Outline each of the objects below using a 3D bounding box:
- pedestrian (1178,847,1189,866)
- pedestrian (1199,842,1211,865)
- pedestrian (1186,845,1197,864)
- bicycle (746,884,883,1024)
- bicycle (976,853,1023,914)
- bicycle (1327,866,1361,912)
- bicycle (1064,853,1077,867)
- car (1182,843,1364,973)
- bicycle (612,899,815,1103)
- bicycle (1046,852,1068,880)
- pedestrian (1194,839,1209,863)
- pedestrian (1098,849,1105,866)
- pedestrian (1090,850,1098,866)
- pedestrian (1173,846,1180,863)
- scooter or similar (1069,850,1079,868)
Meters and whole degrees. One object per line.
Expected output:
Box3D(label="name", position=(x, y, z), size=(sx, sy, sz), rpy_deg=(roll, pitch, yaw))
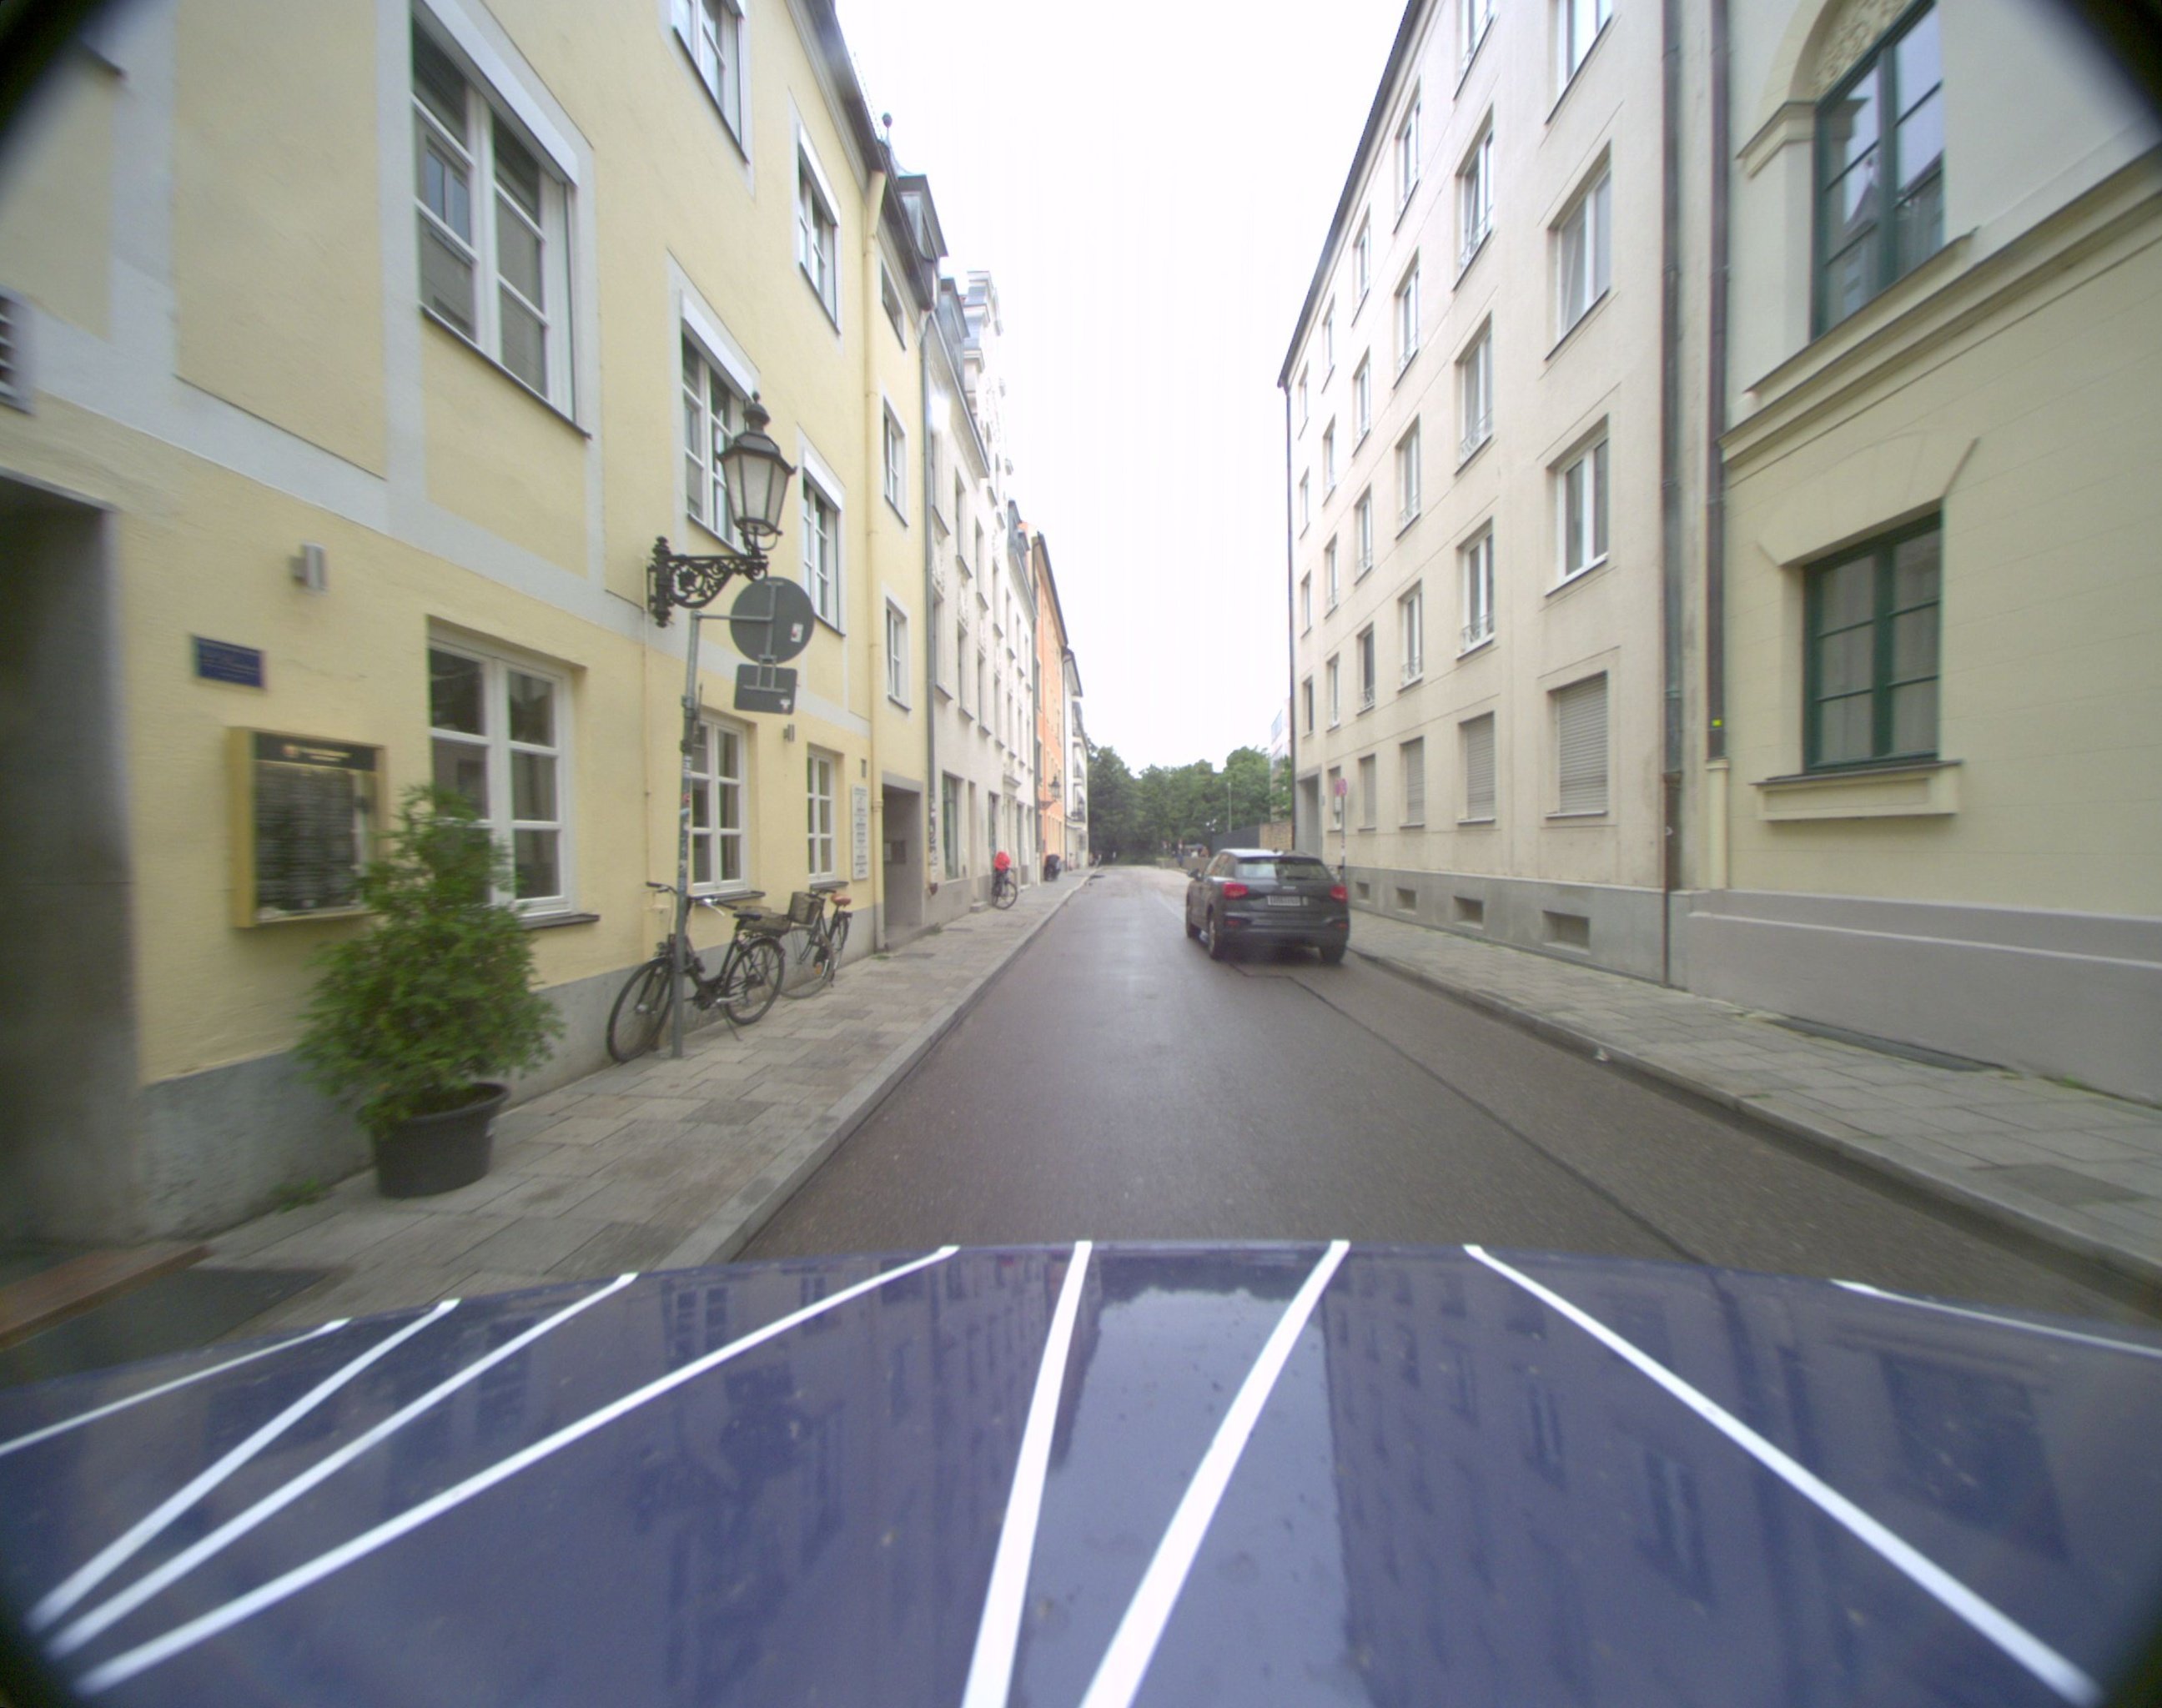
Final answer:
Box3D(label="pedestrian", position=(7.912, 0.179, 58.644), size=(0.640, 1.458, 1.079), rpy_deg=(-3, 0, 4))
Box3D(label="pedestrian", position=(9.451, -0.016, 58.035), size=(0.826, 1.713, 0.906), rpy_deg=(-3, 0, 8))
Box3D(label="pedestrian", position=(9.261, 0.044, 63.616), size=(0.778, 1.531, 0.933), rpy_deg=(-3, 0, 11))
Box3D(label="bicycle", position=(-2.646, 0.936, 7.796), size=(0.567, 1.130, 1.988), rpy_deg=(1, 1, 4))
Box3D(label="bicycle", position=(-1.990, 0.679, 18.849), size=(0.715, 1.388, 2.122), rpy_deg=(2, 1, 5))
Box3D(label="bicycle", position=(6.037, 0.779, 17.491), size=(0.320, 0.938, 1.574), rpy_deg=(-4, 1, 5))
Box3D(label="bicycle", position=(-0.793, 0.466, 57.386), size=(0.464, 0.988, 2.081), rpy_deg=(0, -1, 13))
Box3D(label="car", position=(2.621, 0.643, 11.355), size=(1.816, 1.584, 4.000), rpy_deg=(0, 1, 2))
Box3D(label="bicycle", position=(-2.581, 0.962, 5.558), size=(0.567, 1.130, 1.684), rpy_deg=(1, 1, 4))
Box3D(label="bicycle", position=(-1.110, 0.547, 35.772), size=(0.681, 1.233, 2.383), rpy_deg=(4, 1, 5))
Box3D(label="pedestrian", position=(10.605, -0.233, 66.947), size=(1.225, 2.092, 1.117), rpy_deg=(-1, 0, 5))
Box3D(label="pedestrian", position=(2.162, 0.348, 79.930), size=(0.753, 1.726, 0.854), rpy_deg=(-1, 0, 1))
Box3D(label="pedestrian", position=(1.350, 0.382, 79.778), size=(0.753, 1.671, 0.656), rpy_deg=(-1, 0, 2))
Box3D(label="pedestrian", position=(10.144, 0.019, 80.602), size=(0.625, 1.758, 0.767), rpy_deg=(-1, 0, 2))
Box3D(label="scooter or similar", position=(-0.511, 0.329, 54.135), size=(0.466, 1.251, 1.275), rpy_deg=(1, 1, -11))
